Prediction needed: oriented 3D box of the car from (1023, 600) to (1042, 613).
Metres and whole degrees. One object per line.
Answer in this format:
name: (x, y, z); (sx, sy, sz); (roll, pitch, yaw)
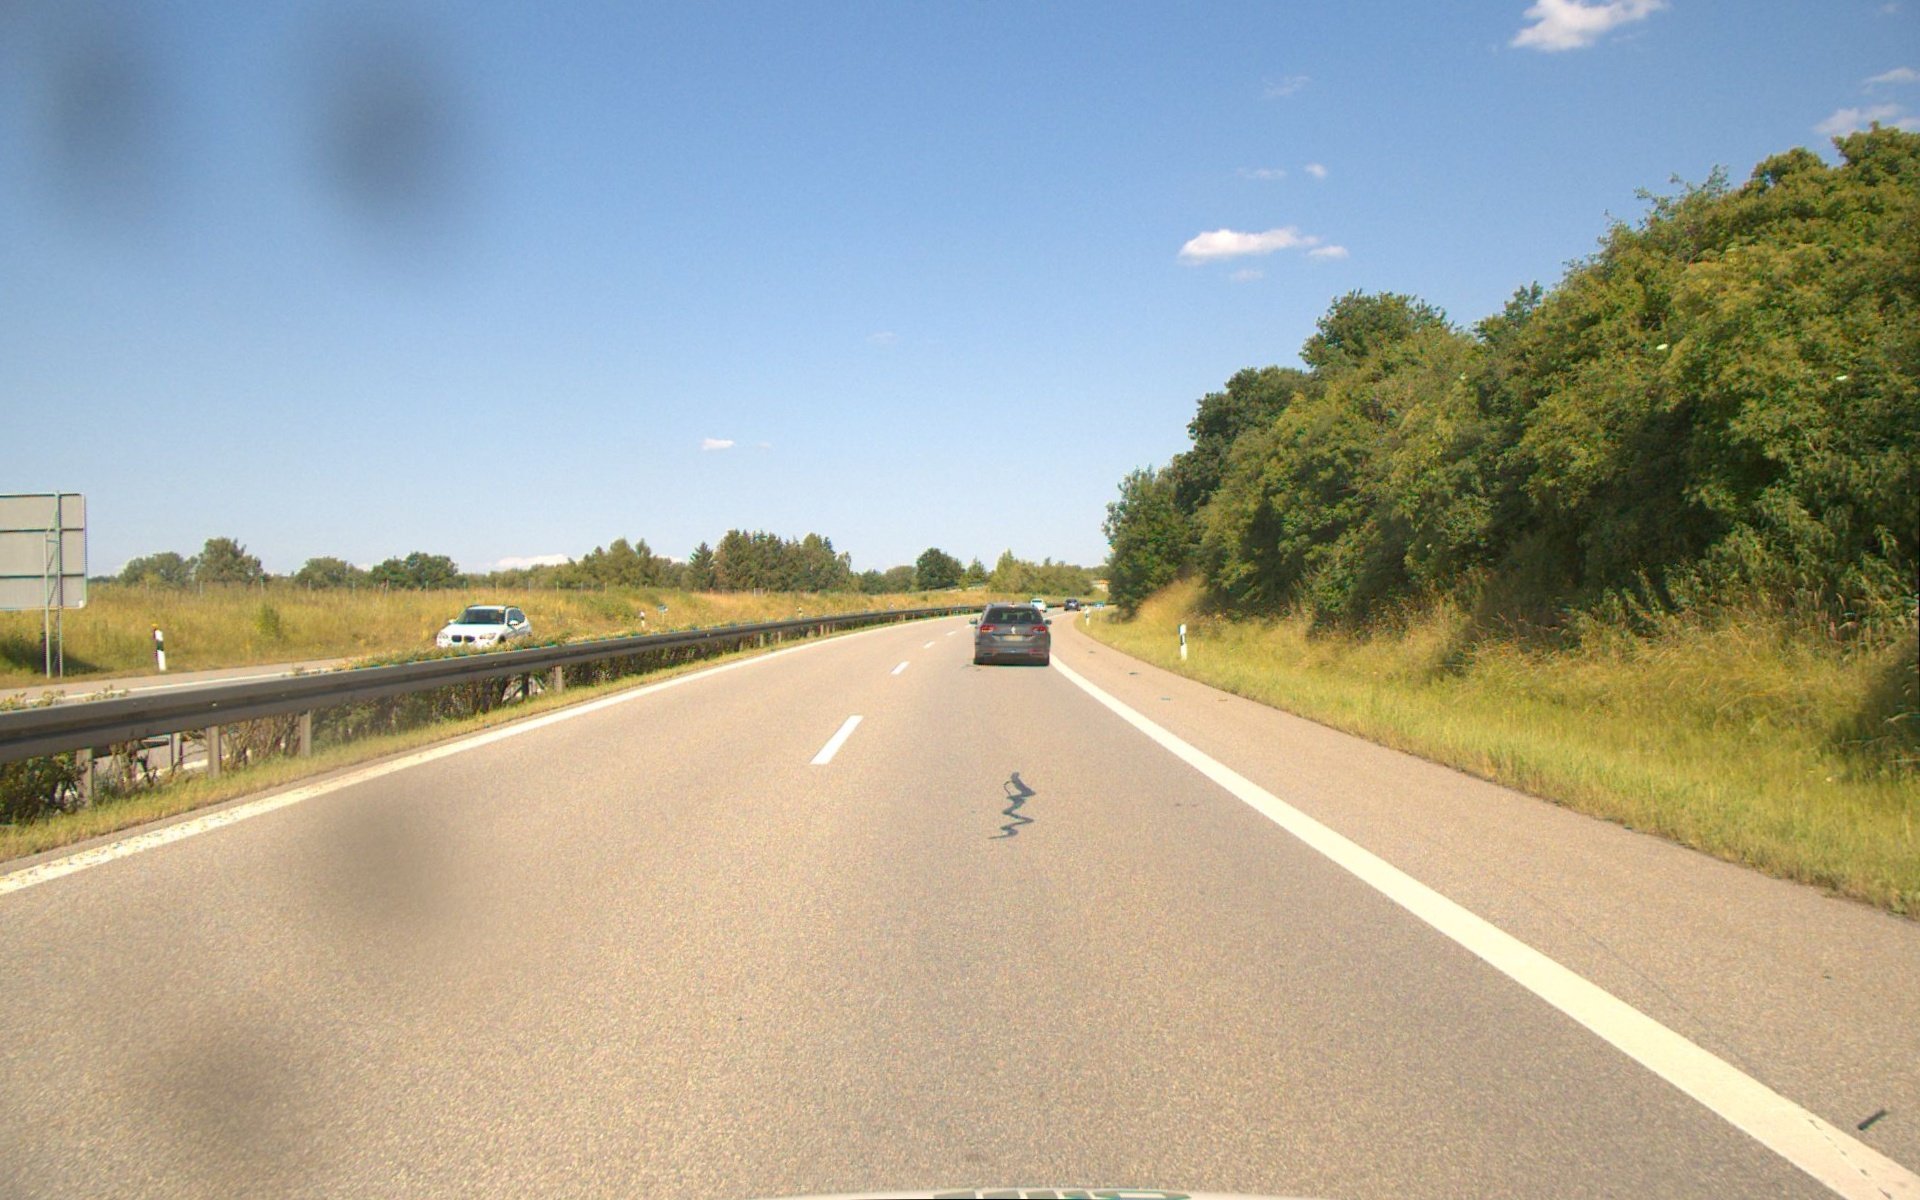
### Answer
car: (7.872, 0.716, 178.576); (1.965, 1.368, 4.001); (1, -1, 3)

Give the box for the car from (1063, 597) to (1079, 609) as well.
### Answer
car: (13.742, 0.418, 204.067); (1.674, 1.411, 3.357); (1, -1, 8)

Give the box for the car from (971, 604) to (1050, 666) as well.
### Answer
car: (1.169, 0.806, 39.165); (1.754, 1.368, 4.000); (1, -1, 1)

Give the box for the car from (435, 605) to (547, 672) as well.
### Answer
car: (-13.444, 1.063, 47.718); (1.730, 1.651, 5.008); (-4, 0, 0)
